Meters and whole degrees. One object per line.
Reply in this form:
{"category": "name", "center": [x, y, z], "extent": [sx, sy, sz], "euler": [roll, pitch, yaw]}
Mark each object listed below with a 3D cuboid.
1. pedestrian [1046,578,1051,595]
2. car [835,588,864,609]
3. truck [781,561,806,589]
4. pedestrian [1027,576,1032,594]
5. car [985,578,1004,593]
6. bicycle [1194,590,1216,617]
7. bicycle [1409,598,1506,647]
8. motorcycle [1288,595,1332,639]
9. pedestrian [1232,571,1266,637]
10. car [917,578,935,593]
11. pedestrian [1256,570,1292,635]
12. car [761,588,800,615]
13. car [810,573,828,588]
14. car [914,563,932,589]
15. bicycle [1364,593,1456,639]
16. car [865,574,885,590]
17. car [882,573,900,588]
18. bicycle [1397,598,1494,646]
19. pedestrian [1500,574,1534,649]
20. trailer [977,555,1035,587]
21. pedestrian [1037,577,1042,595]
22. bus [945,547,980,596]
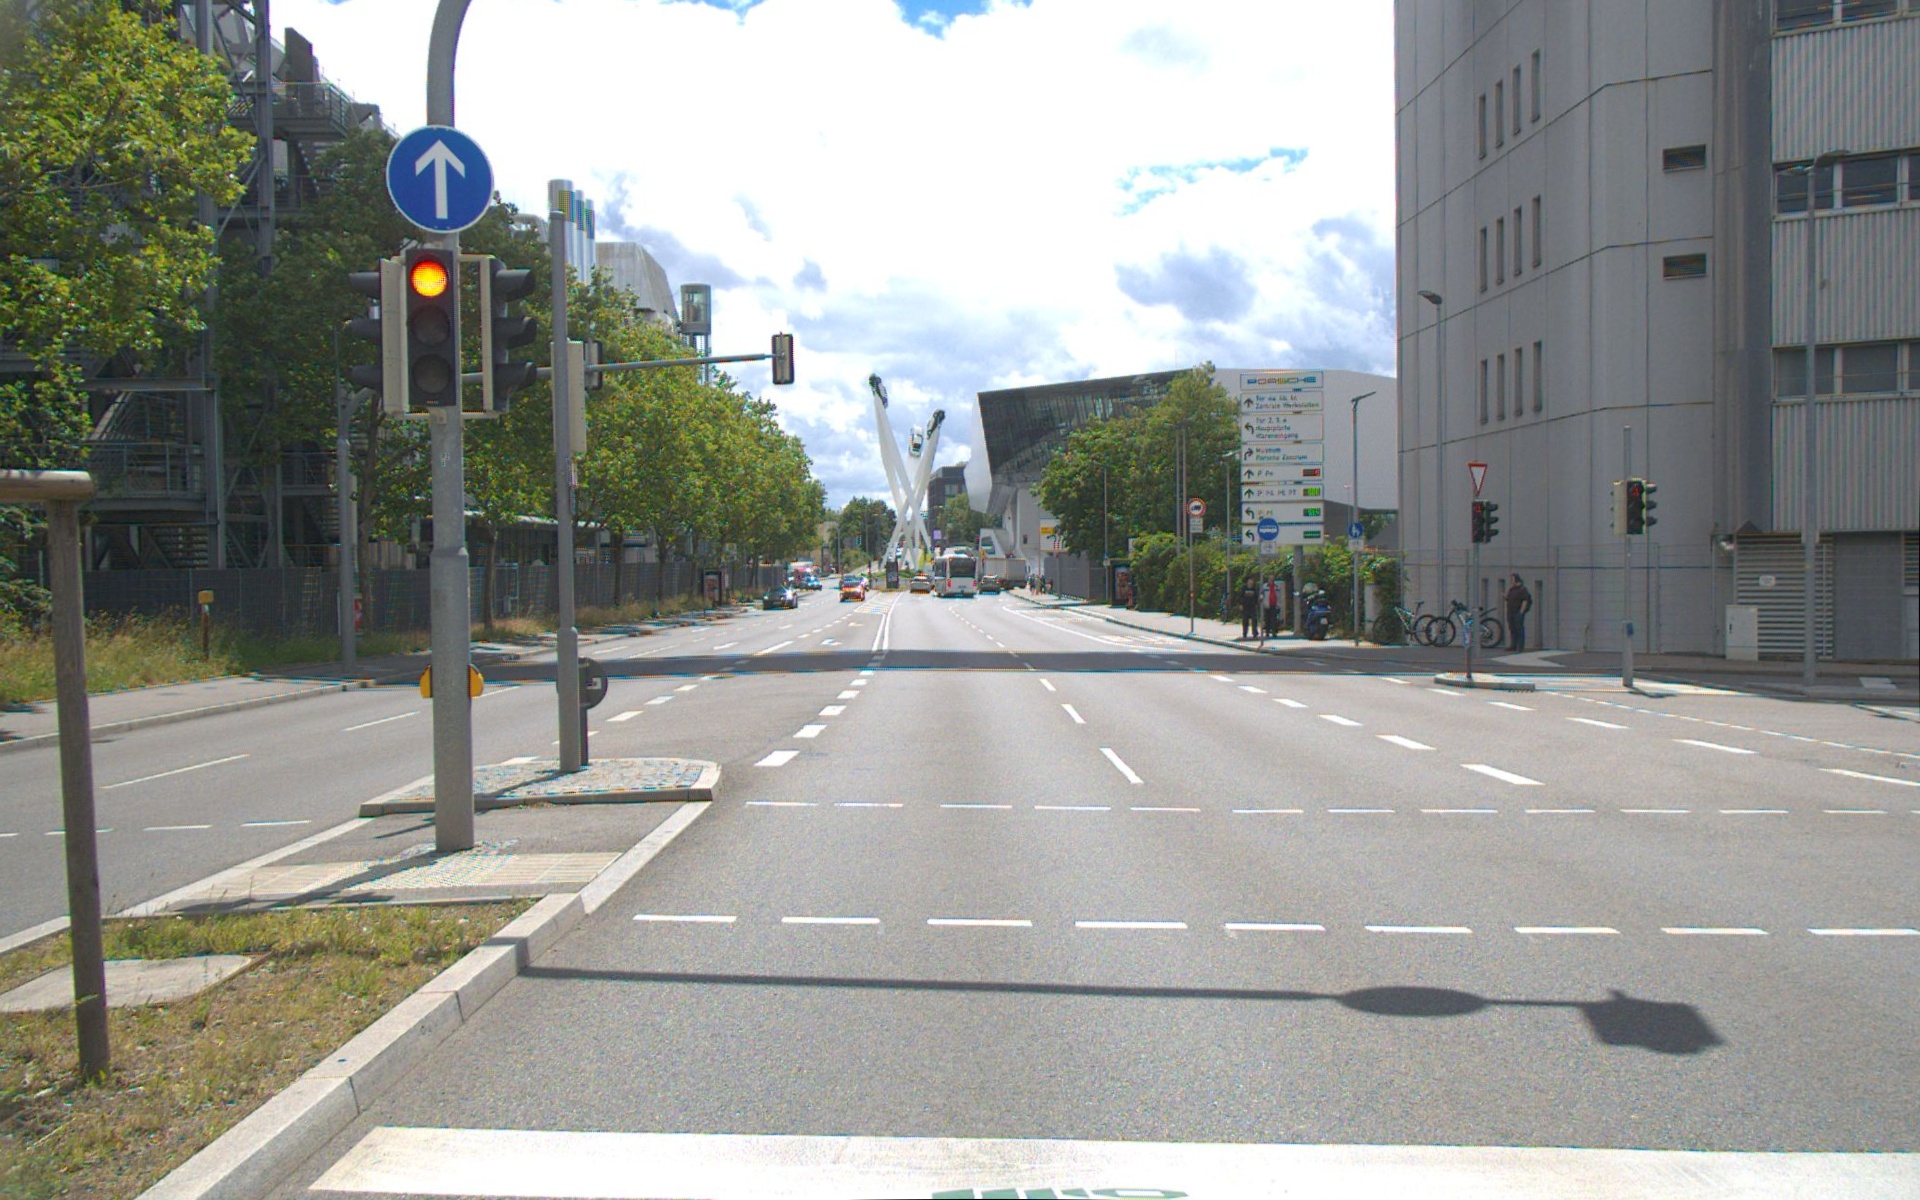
{"category": "pedestrian", "center": [7.410, -1.117, 138.635], "extent": [0.378, 1.446, 0.423], "euler": [1, -1, 0]}
{"category": "car", "center": [-7.908, -0.132, 118.709], "extent": [1.733, 1.445, 3.701], "euler": [-2, 0, 0]}
{"category": "truck", "center": [-21.607, -3.221, 215.078], "extent": [2.538, 3.382, 7.078], "euler": [1, 0, 0]}
{"category": "pedestrian", "center": [5.828, -1.266, 138.156], "extent": [0.378, 1.446, 0.423], "euler": [1, -1, 0]}
{"category": "car", "center": [3.038, -1.276, 146.225], "extent": [1.525, 1.295, 3.701], "euler": [-2, 0, 1]}
{"category": "bicycle", "center": [9.670, 0.153, 65.404], "extent": [0.410, 1.040, 1.910], "euler": [1, 0, -5]}
{"category": "bicycle", "center": [11.719, 0.527, 38.993], "extent": [2.149, 1.105, 0.475], "euler": [1, -1, 35]}
{"category": "motorcycle", "center": [9.547, 0.452, 45.156], "extent": [0.410, 1.186, 1.951], "euler": [1, 0, -11]}
{"category": "pedestrian", "center": [8.256, 0.112, 47.310], "extent": [0.631, 1.825, 0.709], "euler": [-3, 1, -16]}
{"category": "car", "center": [-3.043, -1.312, 148.682], "extent": [1.525, 1.295, 3.701], "euler": [-2, 0, 1]}
{"category": "pedestrian", "center": [8.993, 0.073, 47.368], "extent": [0.680, 1.825, 0.709], "euler": [-3, 1, -16]}
{"category": "car", "center": [-11.197, 0.067, 103.315], "extent": [1.878, 1.514, 4.772], "euler": [-2, 0, 0]}
{"category": "car", "center": [-15.332, -2.077, 180.161], "extent": [1.761, 1.601, 3.998], "euler": [0, 0, -2]}
{"category": "car", "center": [-3.848, -2.468, 171.440], "extent": [1.807, 2.669, 3.998], "euler": [1, 0, -3]}
{"category": "bicycle", "center": [11.152, 0.386, 41.027], "extent": [2.180, 1.105, 0.475], "euler": [1, -1, 35]}
{"category": "car", "center": [-8.363, -1.767, 163.852], "extent": [1.733, 1.445, 3.701], "euler": [-2, 0, 0]}
{"category": "car", "center": [-6.476, -1.835, 155.611], "extent": [1.525, 1.295, 3.701], "euler": [-2, 0, 0]}
{"category": "bicycle", "center": [11.637, 0.529, 39.702], "extent": [2.180, 1.105, 0.475], "euler": [1, -1, 35]}
{"category": "pedestrian", "center": [12.532, 0.250, 37.231], "extent": [0.643, 1.669, 0.534], "euler": [1, -1, 27]}
{"category": "trailer", "center": [4.856, -3.009, 172.203], "extent": [3.250, 3.047, 10.380], "euler": [1, 0, 18]}
{"category": "pedestrian", "center": [6.611, -1.156, 137.724], "extent": [0.378, 1.446, 0.423], "euler": [1, -1, 0]}
{"category": "bus", "center": [0.192, -2.218, 132.634], "extent": [2.730, 3.750, 6.942], "euler": [1, 0, 0]}
